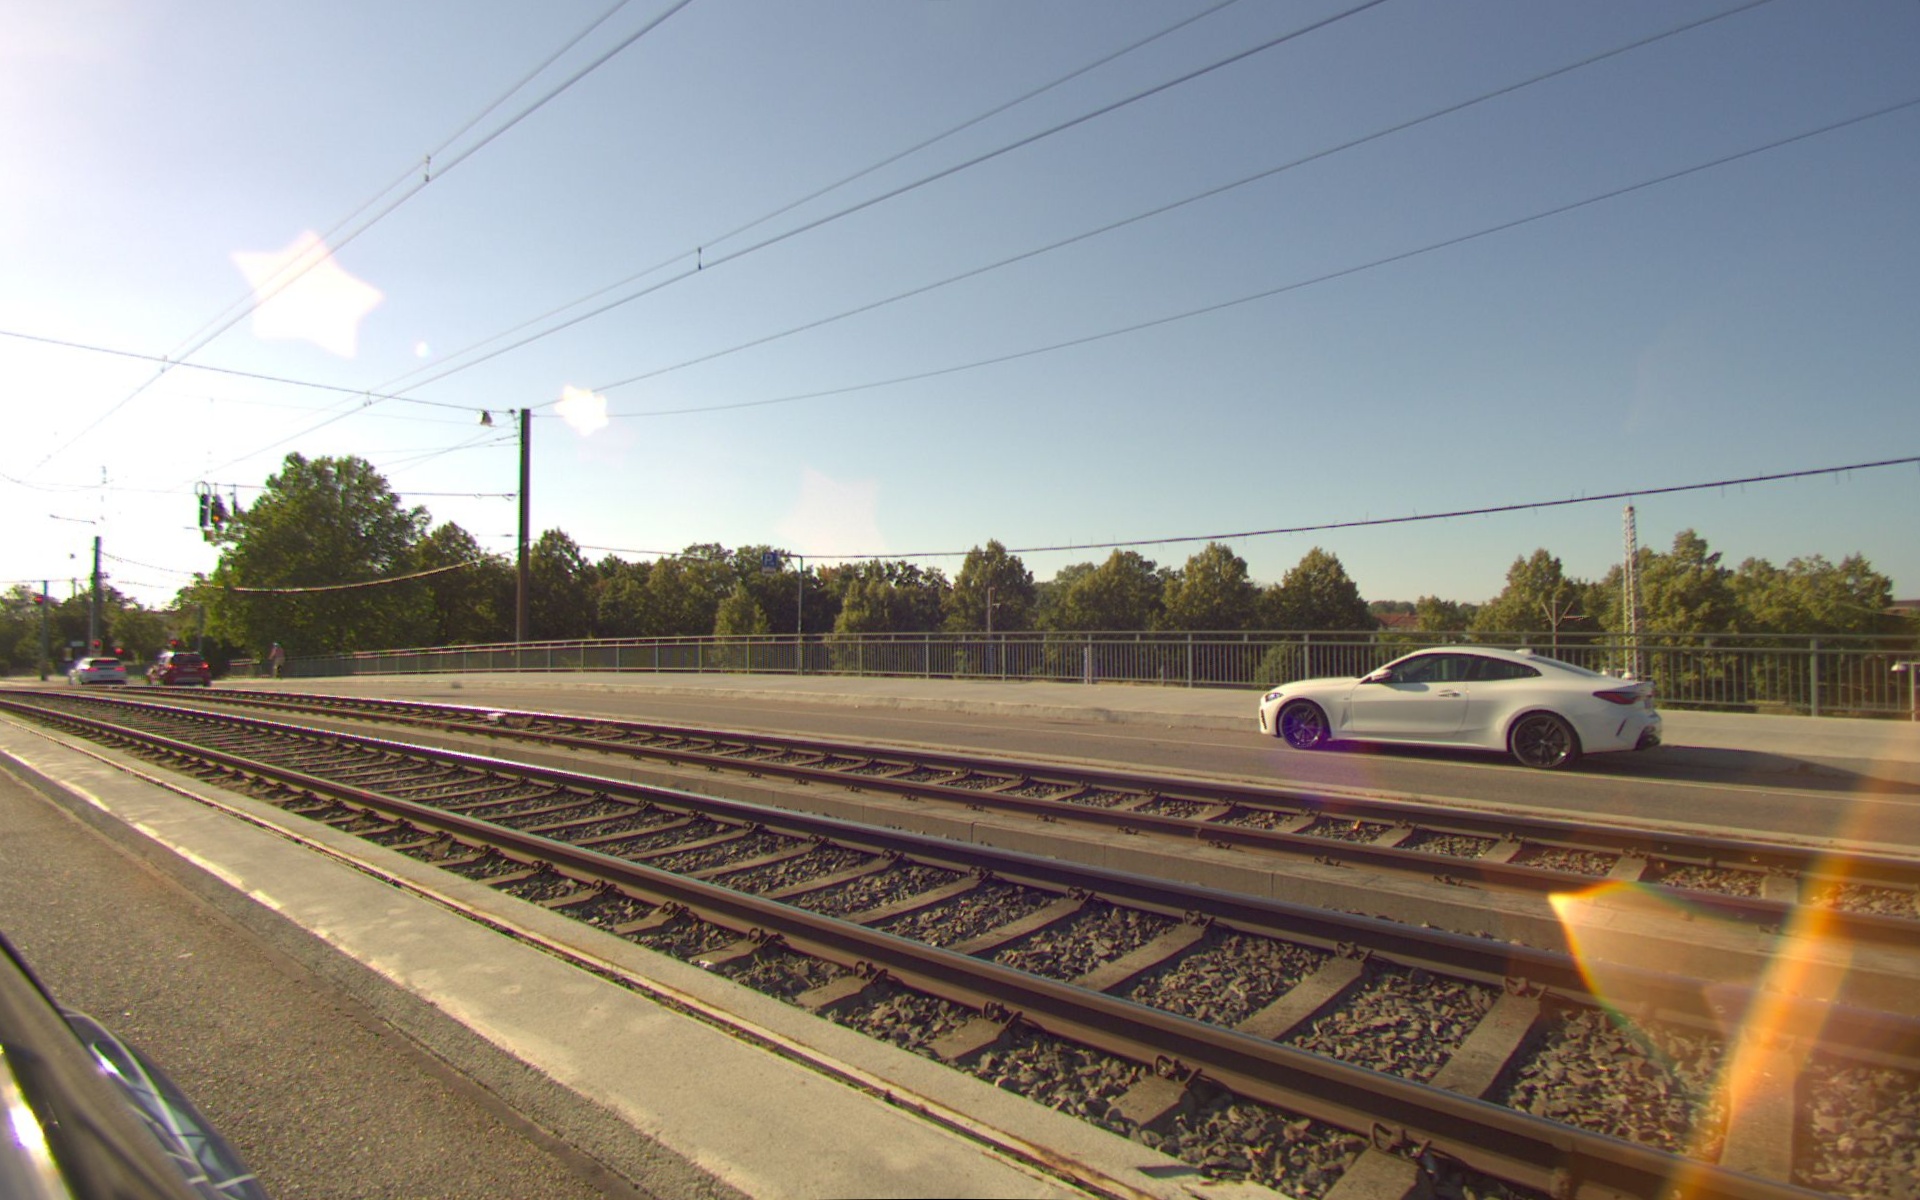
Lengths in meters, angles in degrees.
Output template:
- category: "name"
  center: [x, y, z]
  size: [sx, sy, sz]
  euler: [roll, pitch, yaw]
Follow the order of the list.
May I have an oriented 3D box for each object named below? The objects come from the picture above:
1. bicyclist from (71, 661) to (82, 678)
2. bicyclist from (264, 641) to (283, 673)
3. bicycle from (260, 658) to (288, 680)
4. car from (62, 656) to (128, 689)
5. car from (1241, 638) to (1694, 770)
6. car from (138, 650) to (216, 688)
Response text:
- category: "bicyclist"
  center: [-75.886, 5.975, 86.898]
  size: [0.968, 1.443, 0.618]
  euler: [-3, -3, 42]
- category: "bicyclist"
  center: [-36.437, 3.024, 53.727]
  size: [0.934, 1.645, 0.619]
  euler: [-3, -3, 39]
- category: "bicycle"
  center: [-36.399, 3.668, 53.685]
  size: [2.257, 1.131, 0.619]
  euler: [-3, -3, 39]
- category: "car"
  center: [-47.081, 3.940, 55.073]
  size: [5.086, 1.649, 1.980]
  euler: [-3, -3, 41]
- category: "car"
  center: [6.299, 1.234, 13.004]
  size: [4.917, 1.367, 1.666]
  euler: [-3, -3, 41]
- category: "car"
  center: [-33.136, 2.942, 42.806]
  size: [3.997, 1.531, 1.789]
  euler: [-4, -5, 41]
